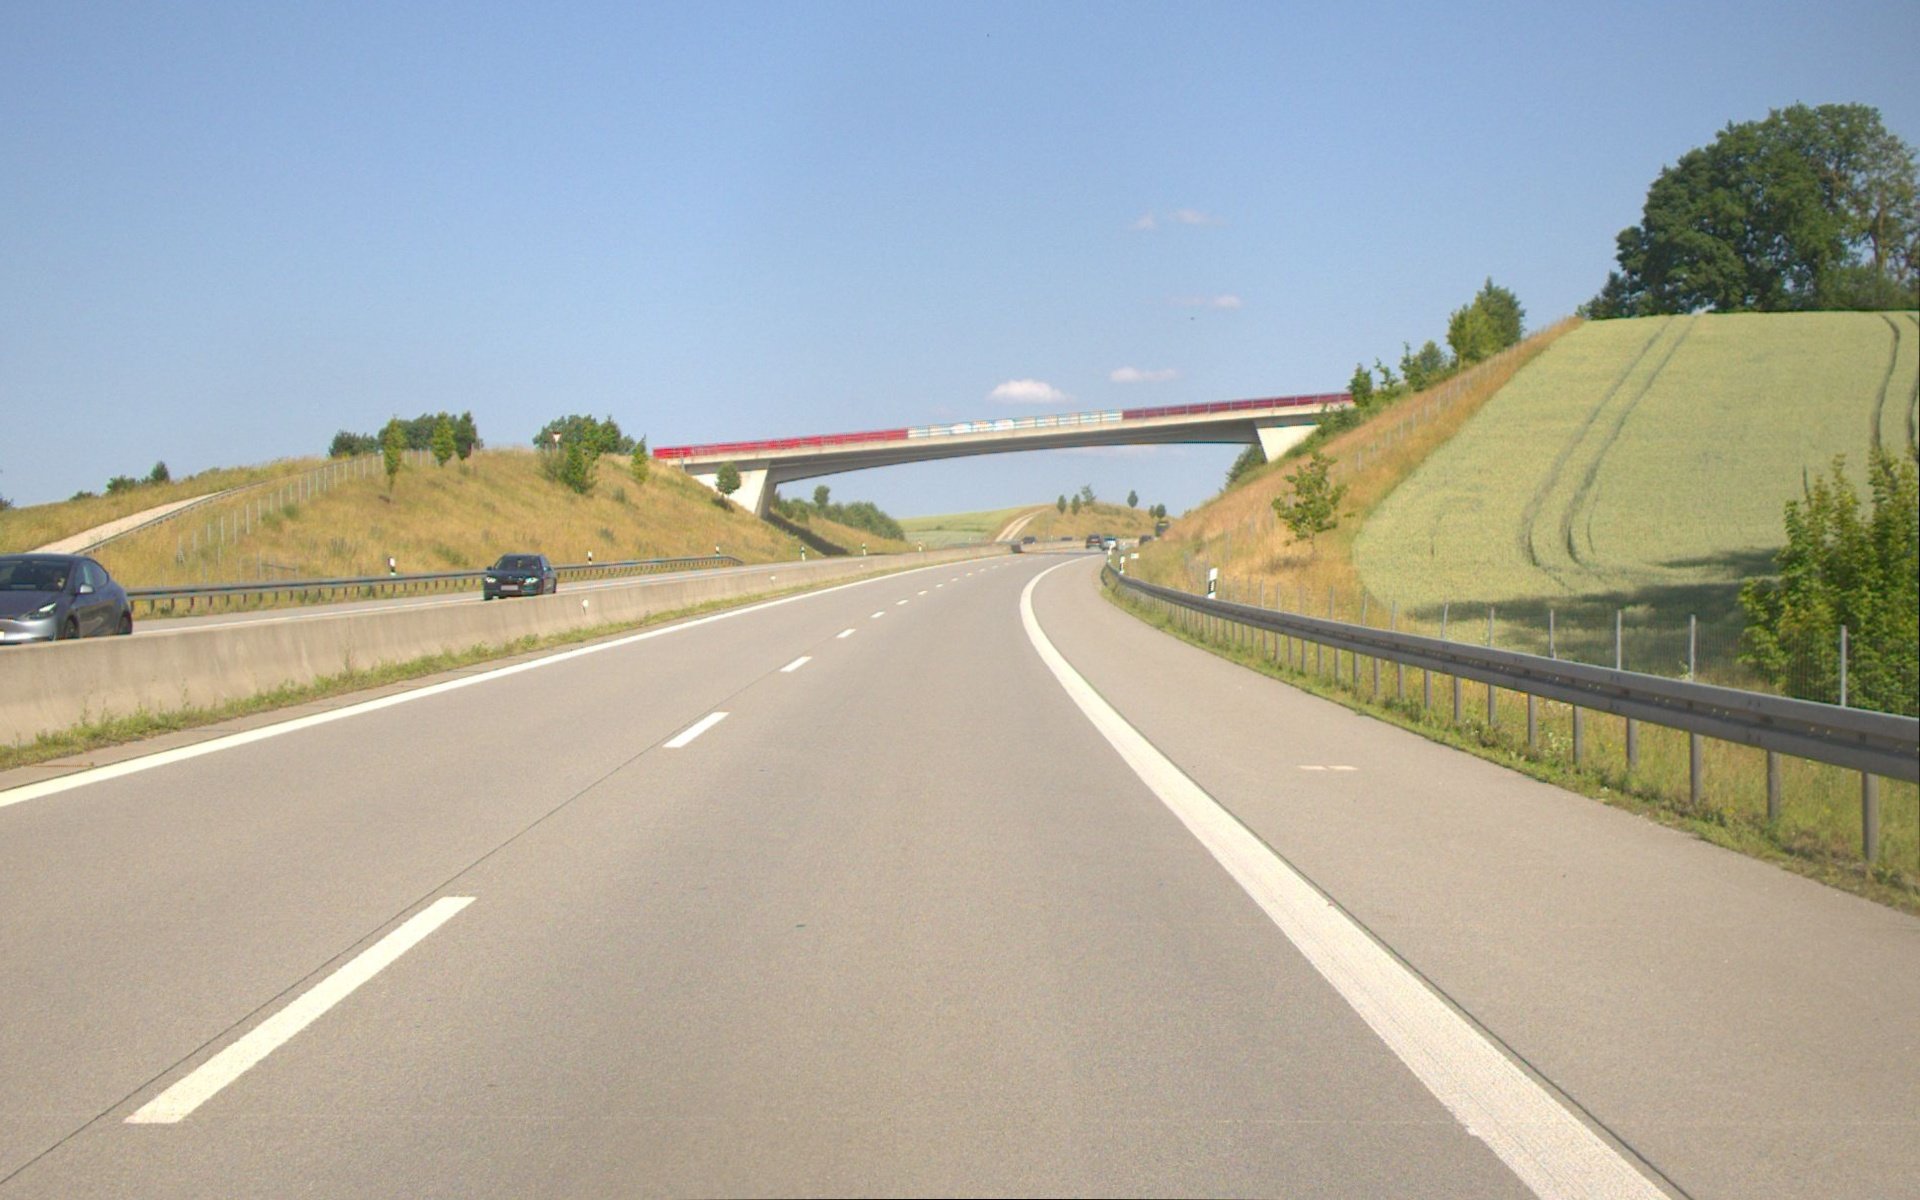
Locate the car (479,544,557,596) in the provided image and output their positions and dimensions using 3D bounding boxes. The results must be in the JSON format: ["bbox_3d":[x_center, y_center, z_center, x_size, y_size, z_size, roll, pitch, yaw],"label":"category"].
[{"bbox_3d":[-14.140,-0.939,110.227,1.813,1.609,4.676,1,0,1],"label":"car"}]

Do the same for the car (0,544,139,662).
[{"bbox_3d":[-13.396,0.030,49.739,1.813,1.609,4.676,1,0,1],"label":"car"}]
